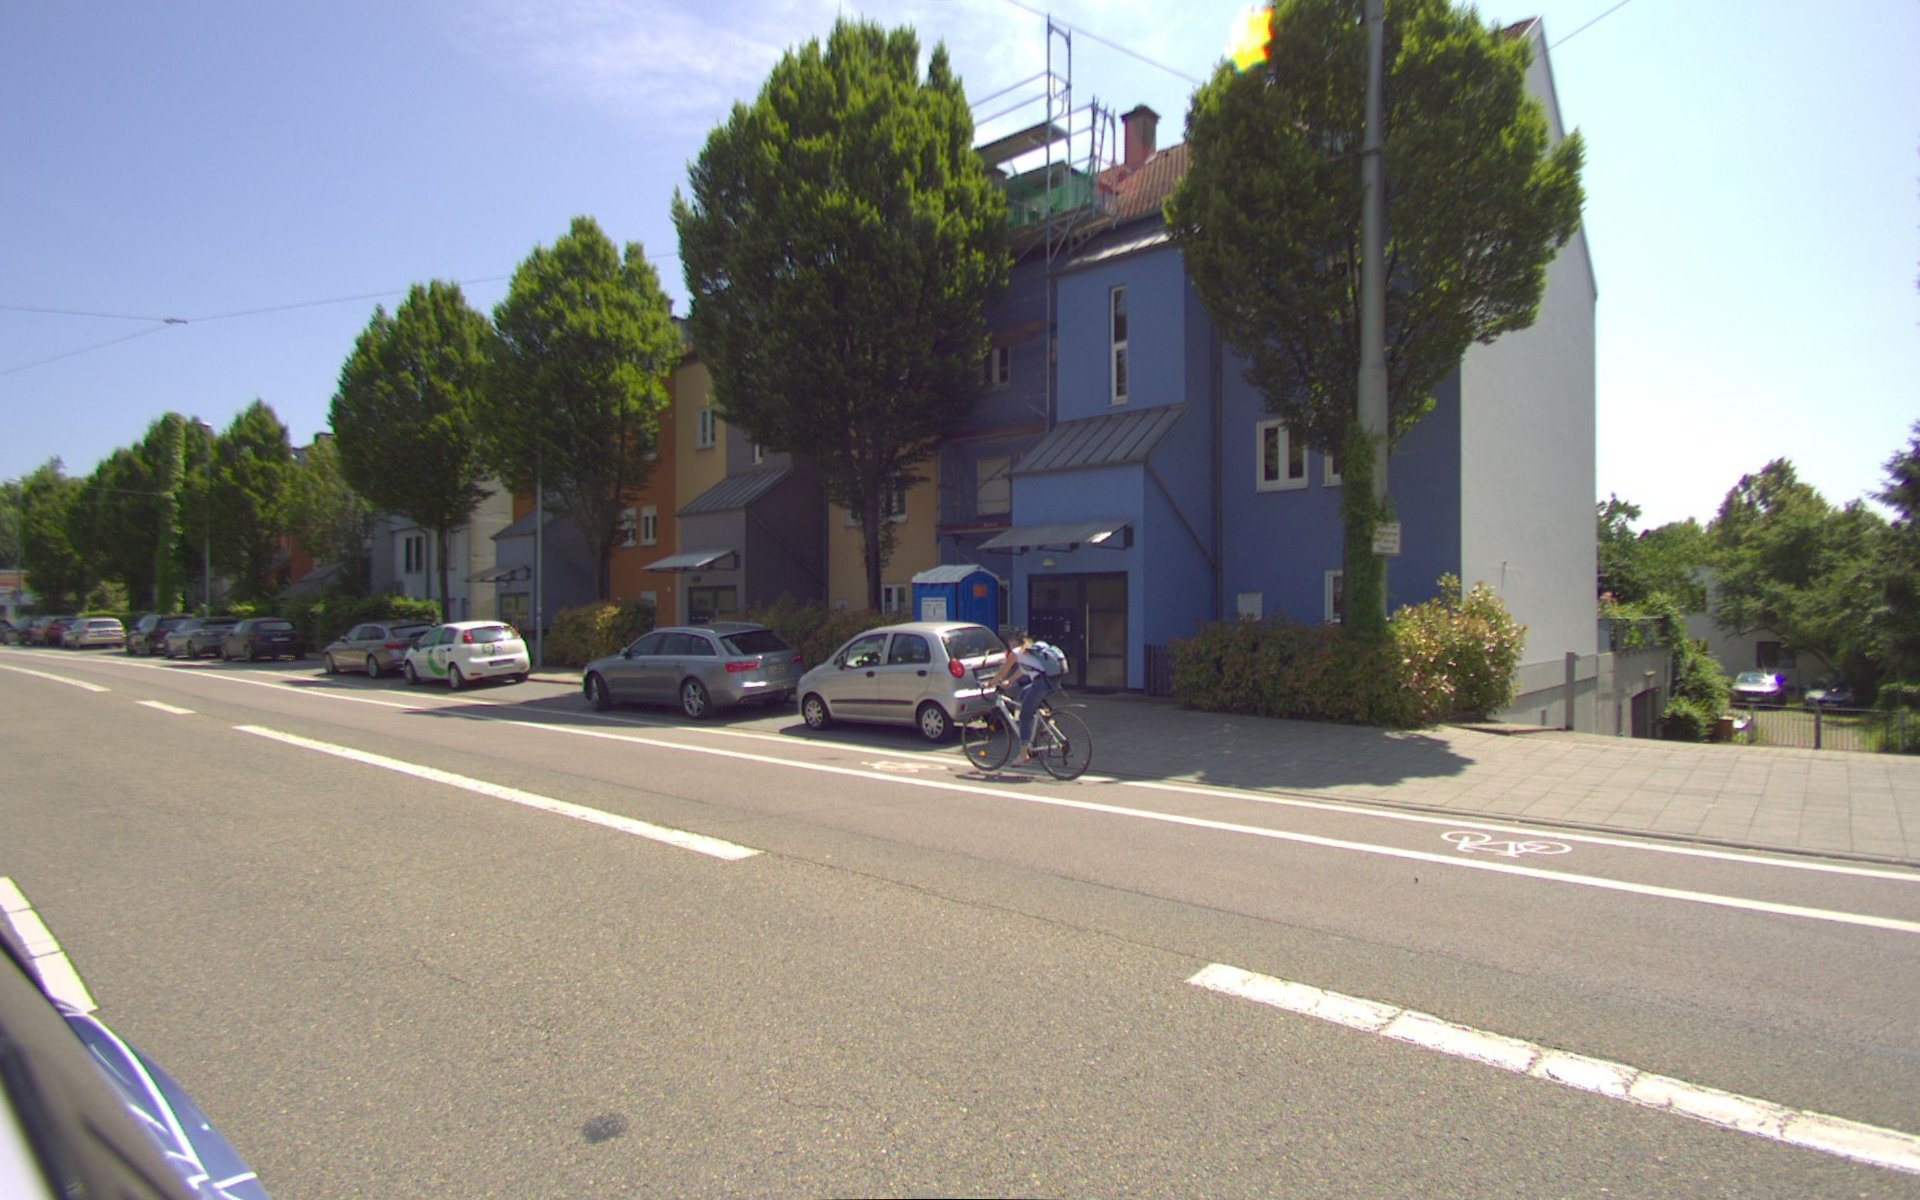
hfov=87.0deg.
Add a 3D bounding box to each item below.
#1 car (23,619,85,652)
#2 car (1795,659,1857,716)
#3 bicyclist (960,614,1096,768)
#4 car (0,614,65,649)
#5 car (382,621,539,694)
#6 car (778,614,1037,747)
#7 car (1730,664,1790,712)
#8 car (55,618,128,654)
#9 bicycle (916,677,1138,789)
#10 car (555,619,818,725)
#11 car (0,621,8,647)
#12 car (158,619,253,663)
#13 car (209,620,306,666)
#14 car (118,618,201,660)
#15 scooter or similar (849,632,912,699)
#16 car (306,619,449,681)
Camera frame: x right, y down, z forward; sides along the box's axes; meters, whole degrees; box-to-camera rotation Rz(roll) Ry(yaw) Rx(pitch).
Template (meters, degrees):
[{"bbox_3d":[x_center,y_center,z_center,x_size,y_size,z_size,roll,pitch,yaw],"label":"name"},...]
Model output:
[{"bbox_3d":[-46.993,1.819,52.461,3.673,1.606,1.586,-2,0,35],"label":"car"},{"bbox_3d":[37.844,3.789,44.272,1.999,2.029,3.946,0,1,41],"label":"car"},{"bbox_3d":[0.681,0.886,10.155,1.123,1.442,0.728,-1,-4,38],"label":"bicyclist"},{"bbox_3d":[-51.143,1.714,55.619,4.549,1.807,1.976,-1,-1,36],"label":"car"},{"bbox_3d":[-12.084,1.321,24.359,4.418,1.453,1.728,-1,3,41],"label":"car"},{"bbox_3d":[-0.799,1.032,14.169,3.447,1.506,1.577,-1,3,41],"label":"car"},{"bbox_3d":[36.356,3.932,45.977,1.999,1.730,3.946,0,1,41],"label":"car"},{"bbox_3d":[-42.148,1.717,49.075,4.490,1.594,1.822,-1,0,38],"label":"car"},{"bbox_3d":[0.630,1.278,10.165,2.240,0.958,0.695,-2,-4,39],"label":"bicycle"},{"bbox_3d":[-4.887,1.171,17.608,5.129,1.461,1.769,-2,2,40],"label":"car"},{"bbox_3d":[-58.663,2.067,60.454,4.135,1.549,1.848,-2,0,36],"label":"car"},{"bbox_3d":[-28.707,1.537,38.440,4.752,1.507,1.807,-1,0,39],"label":"car"},{"bbox_3d":[-24.494,1.463,35.236,4.254,1.443,1.732,-1,1,40],"label":"car"},{"bbox_3d":[-33.276,1.588,42.046,4.142,1.601,1.750,-1,0,38],"label":"car"},{"bbox_3d":[-1.438,1.167,18.242,1.183,1.154,0.449,-1,-2,43],"label":"scooter or similar"},{"bbox_3d":[-16.171,1.348,27.995,4.744,1.440,1.688,-1,3,38],"label":"car"}]
